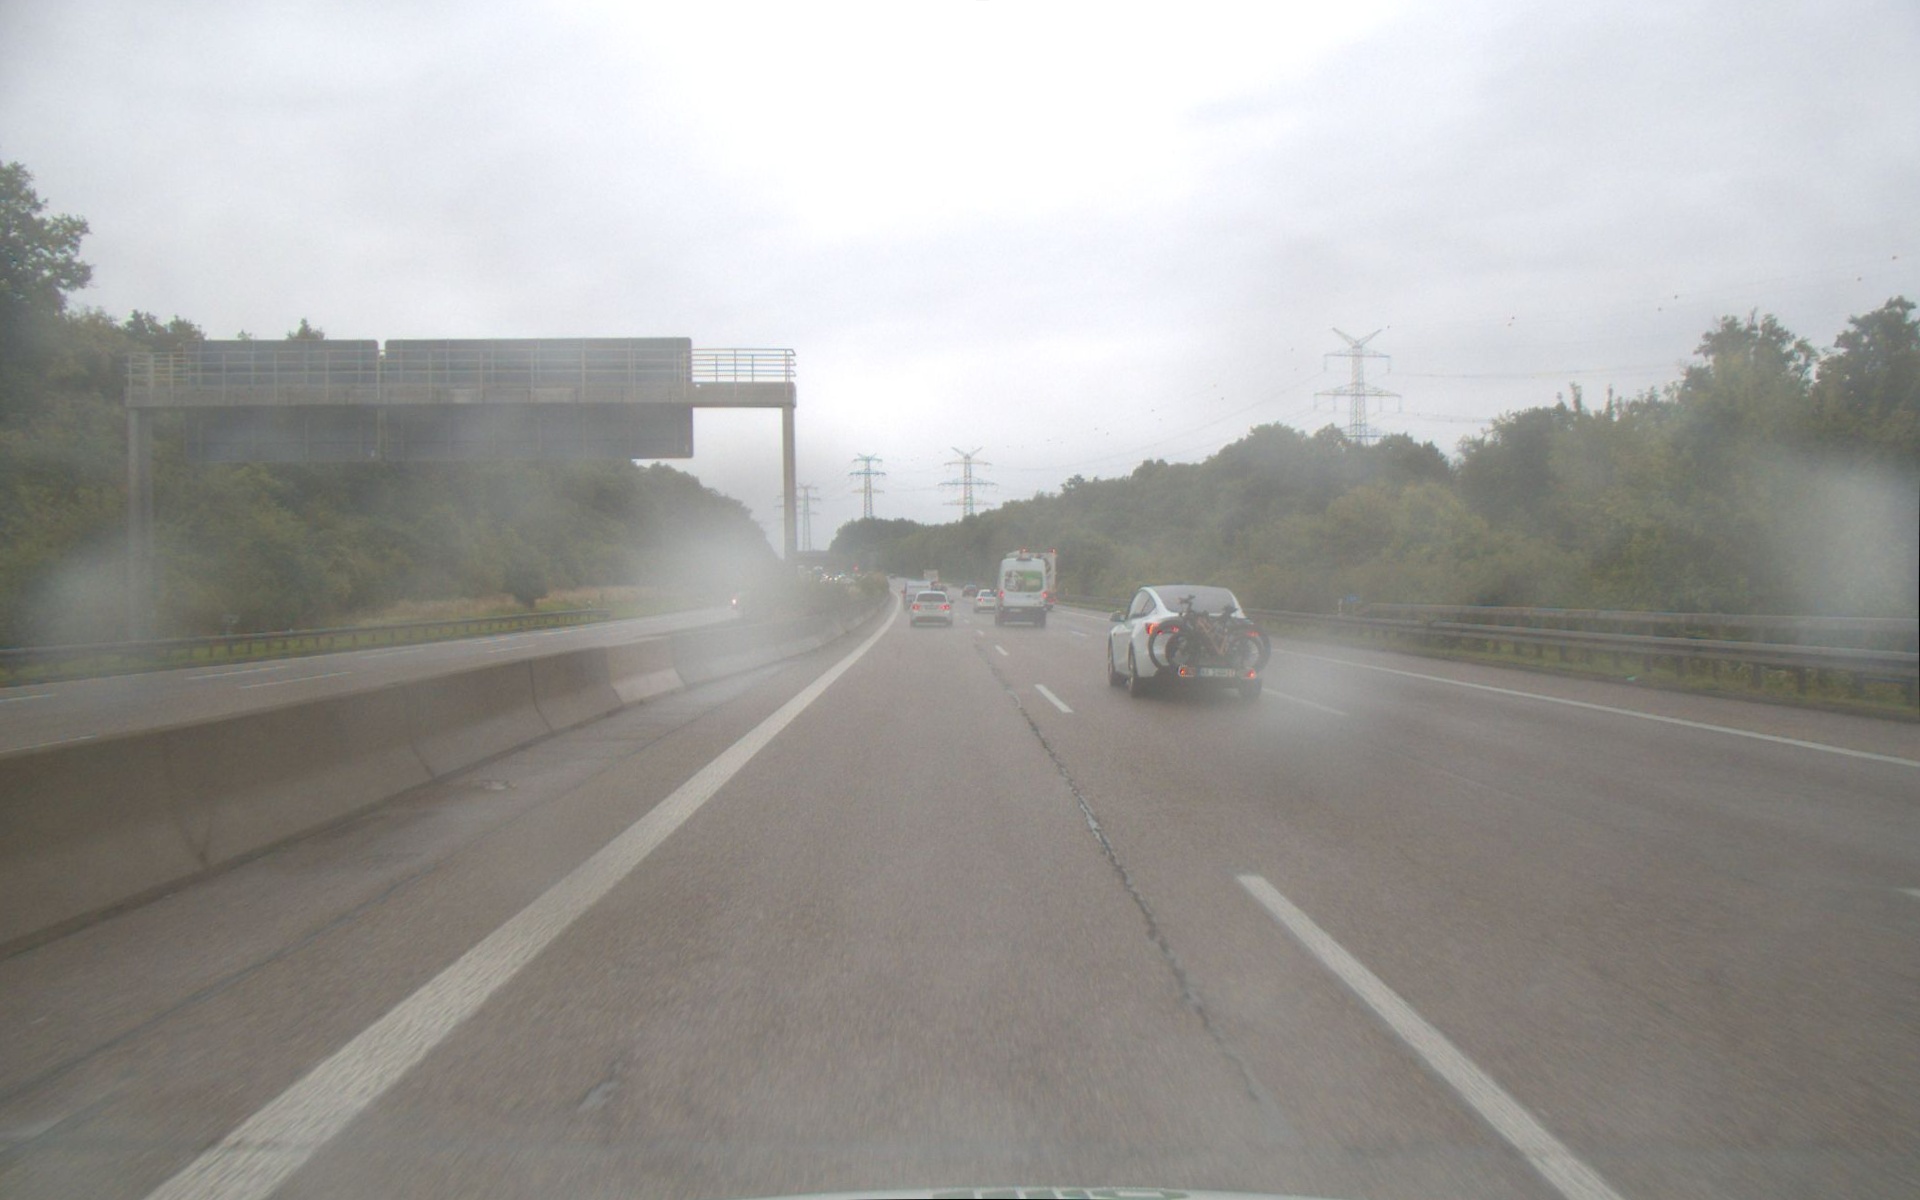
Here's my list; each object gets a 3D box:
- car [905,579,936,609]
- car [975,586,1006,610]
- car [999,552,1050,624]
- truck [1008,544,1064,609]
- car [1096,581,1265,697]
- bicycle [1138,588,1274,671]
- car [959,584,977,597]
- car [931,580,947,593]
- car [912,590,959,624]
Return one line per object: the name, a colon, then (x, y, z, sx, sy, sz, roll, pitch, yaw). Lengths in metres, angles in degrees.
car: (-2.376, -0.357, 100.847, 1.808, 1.803, 3.999, 1, 0, -1)
car: (1.863, -0.125, 102.456, 1.819, 1.447, 4.000, 0, 1, 0)
car: (2.692, -0.506, 69.489, 1.953, 2.914, 4.000, -1, 0, 0)
truck: (5.344, -1.637, 118.344, 3.529, 4.408, 13.200, 0, 0, 1)
car: (3.288, 0.521, 25.583, 1.823, 1.595, 4.962, 1, 0, -1)
bicycle: (3.348, 0.395, 22.605, 1.717, 1.110, 0.913, 0, -1, -1)
car: (0.983, -1.149, 200.917, 1.953, 1.512, 3.999, -2, 0, -2)
car: (-2.740, -1.686, 214.299, 1.953, 1.601, 3.999, -1, 0, -1)
car: (-1.014, 0.282, 67.579, 1.829, 1.310, 3.999, -1, 0, -1)
